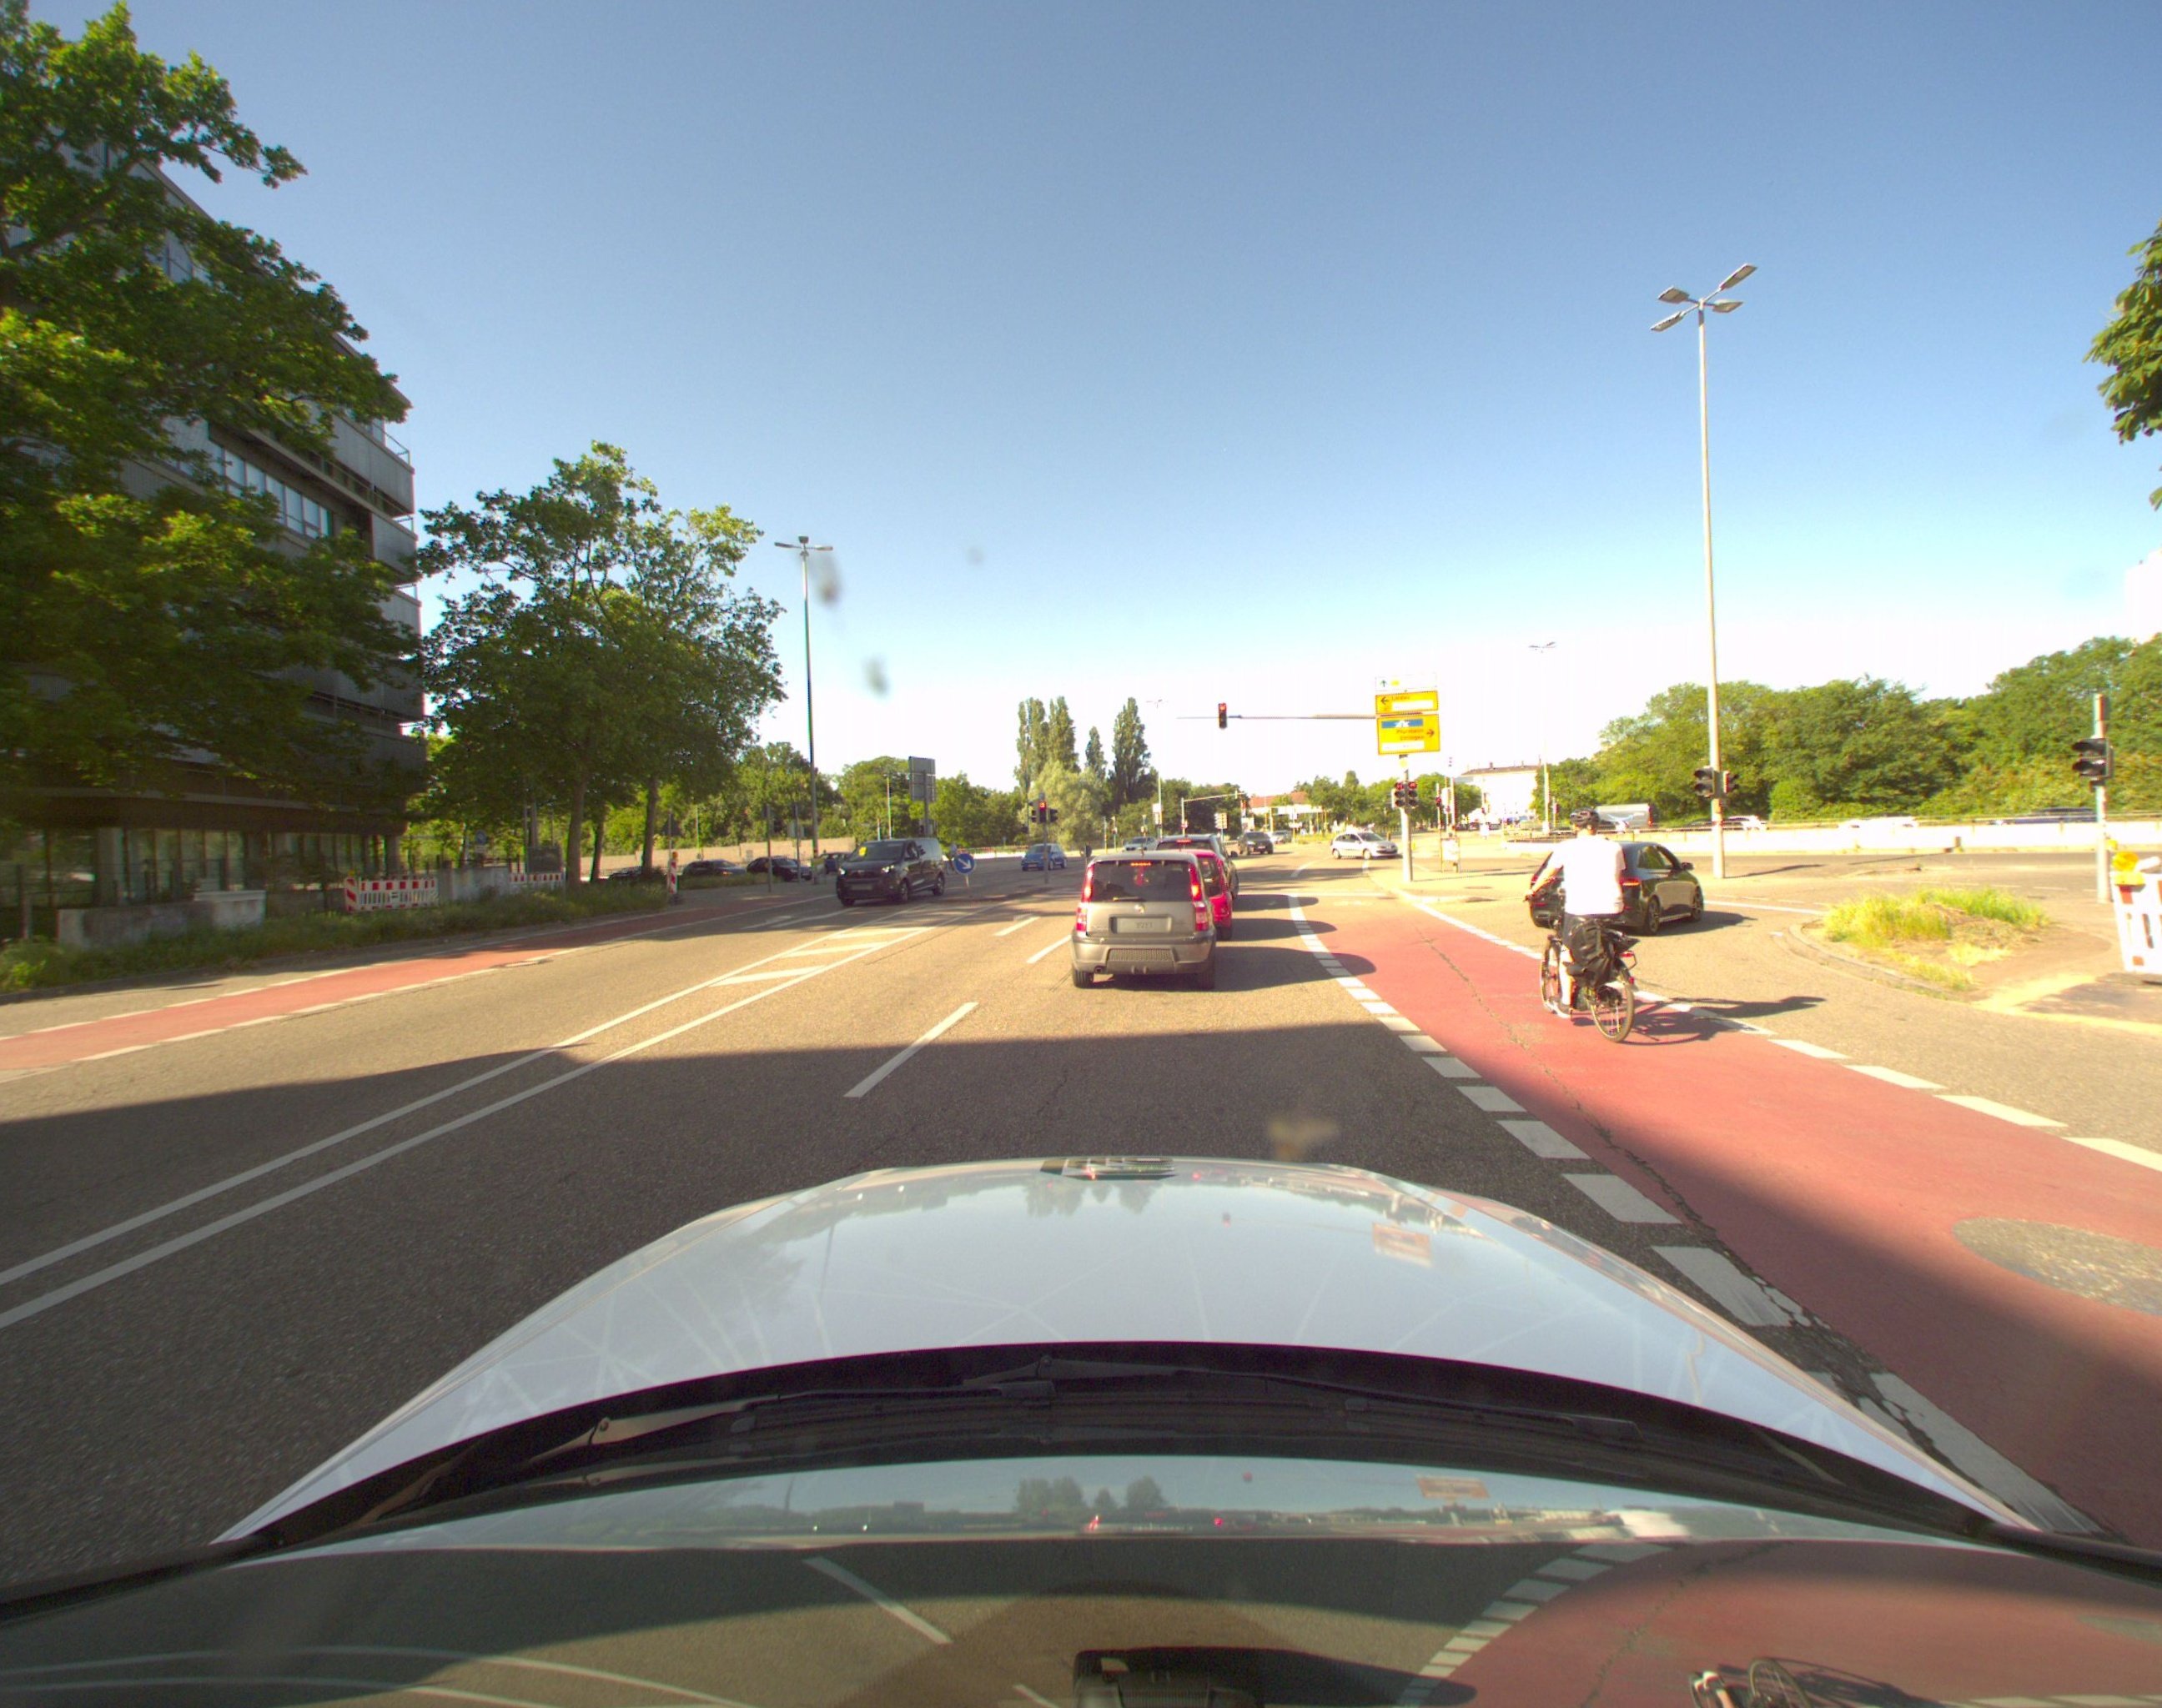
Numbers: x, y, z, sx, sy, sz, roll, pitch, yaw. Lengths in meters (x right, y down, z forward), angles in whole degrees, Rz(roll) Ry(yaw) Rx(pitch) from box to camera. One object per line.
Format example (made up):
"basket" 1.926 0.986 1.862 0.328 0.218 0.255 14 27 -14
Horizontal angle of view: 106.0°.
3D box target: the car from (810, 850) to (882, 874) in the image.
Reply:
"car" -16.107 0.548 55.750 4.400 1.438 1.835 -3 1 19

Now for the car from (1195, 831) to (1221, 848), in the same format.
"car" 12.973 -1.483 82.918 1.671 1.457 3.934 -3 -3 23

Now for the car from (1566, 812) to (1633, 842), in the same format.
"car" 39.461 -1.997 61.975 3.949 2.014 2.012 -2 -2 43

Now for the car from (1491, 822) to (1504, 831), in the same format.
"car" 85.939 -5.620 168.070 1.974 1.640 4.026 -3 1 33

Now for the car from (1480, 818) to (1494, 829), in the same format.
"car" 75.082 -5.668 150.440 1.974 1.793 4.026 -3 1 30

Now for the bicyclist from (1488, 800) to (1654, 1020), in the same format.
"bicyclist" 4.076 0.436 6.872 0.795 1.705 1.087 -1 0 6

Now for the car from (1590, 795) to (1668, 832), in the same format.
"car" 45.280 -3.302 67.417 2.272 2.607 4.830 0 -2 -38

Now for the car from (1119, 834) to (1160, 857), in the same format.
"car" 4.720 -0.717 65.054 1.818 1.653 4.654 -3 1 22

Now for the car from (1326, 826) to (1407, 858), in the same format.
"car" 15.092 -0.611 43.302 1.827 1.582 4.075 -3 1 -21

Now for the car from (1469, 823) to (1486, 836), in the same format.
"car" 65.107 -4.011 133.758 1.974 1.794 4.025 -2 -2 34

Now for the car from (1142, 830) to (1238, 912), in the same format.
"car" 2.808 0.321 20.143 1.855 1.790 4.431 -1 1 14

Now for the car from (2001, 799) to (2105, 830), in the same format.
"car" 61.420 -2.453 51.570 3.949 1.662 2.012 -2 -2 42

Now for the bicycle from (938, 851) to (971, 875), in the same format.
"bicycle" -6.881 0.467 44.421 0.681 1.202 2.338 -2 1 18

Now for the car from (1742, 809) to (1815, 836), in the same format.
"car" 51.515 -2.280 60.200 3.949 1.750 2.012 -2 -2 43

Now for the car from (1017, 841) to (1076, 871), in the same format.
"car" -1.888 0.057 46.291 1.805 1.503 4.473 -3 1 18

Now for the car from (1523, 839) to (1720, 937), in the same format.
"car" 9.560 0.484 14.307 4.019 1.493 1.737 -1 1 -38

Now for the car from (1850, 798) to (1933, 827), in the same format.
"car" 55.757 -2.803 56.127 3.949 1.684 1.868 -2 -2 43

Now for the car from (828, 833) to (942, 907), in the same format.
"car" -5.782 0.406 24.743 1.985 1.935 4.856 -2 1 3

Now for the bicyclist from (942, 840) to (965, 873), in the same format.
"bicyclist" -6.934 0.129 44.308 0.681 1.701 1.204 -2 1 18

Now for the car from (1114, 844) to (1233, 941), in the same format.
"car" 1.742 0.588 14.754 1.810 1.479 4.010 -2 0 8

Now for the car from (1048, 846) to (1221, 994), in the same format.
"car" 0.879 0.655 10.485 1.809 1.489 4.011 0 1 9

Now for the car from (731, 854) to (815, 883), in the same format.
"car" -17.363 0.817 45.870 4.395 1.438 1.837 -2 1 27

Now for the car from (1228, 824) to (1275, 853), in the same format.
"car" 12.003 -1.038 57.568 1.991 1.836 4.350 -1 -1 -7

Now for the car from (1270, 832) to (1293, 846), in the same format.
"car" 21.838 -1.626 88.750 1.752 1.387 4.384 -3 1 22

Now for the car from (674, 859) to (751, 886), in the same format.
"car" -22.496 1.157 49.690 4.395 1.438 1.837 -2 1 27

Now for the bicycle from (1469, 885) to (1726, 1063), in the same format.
"bicycle" 4.066 0.858 6.714 0.795 1.111 2.406 -1 0 6
